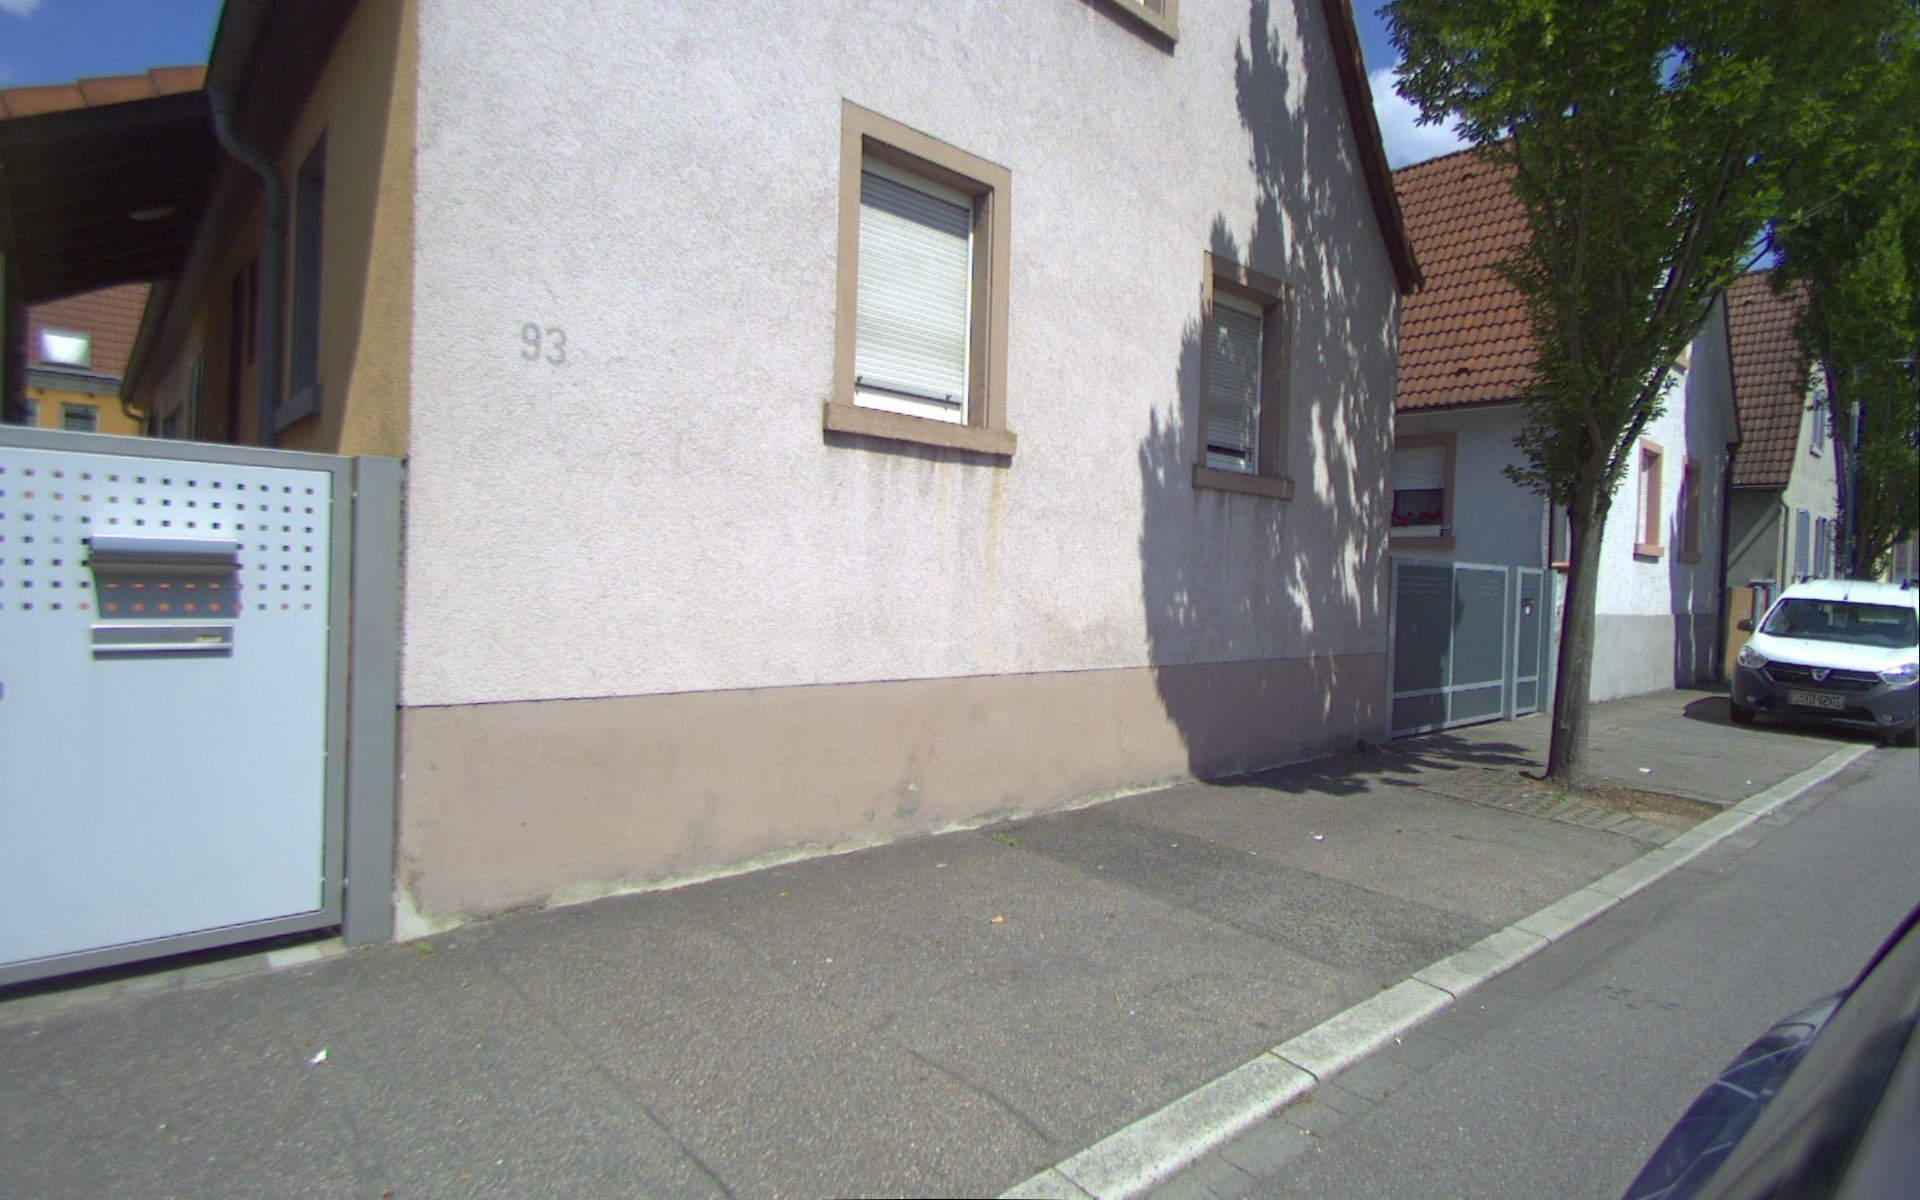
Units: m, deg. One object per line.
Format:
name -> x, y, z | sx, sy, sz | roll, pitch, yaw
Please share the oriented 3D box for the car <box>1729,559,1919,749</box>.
car -> 11.211, 0.547, 12.483 | 4.680, 1.864, 1.693 | 0, 4, -41
